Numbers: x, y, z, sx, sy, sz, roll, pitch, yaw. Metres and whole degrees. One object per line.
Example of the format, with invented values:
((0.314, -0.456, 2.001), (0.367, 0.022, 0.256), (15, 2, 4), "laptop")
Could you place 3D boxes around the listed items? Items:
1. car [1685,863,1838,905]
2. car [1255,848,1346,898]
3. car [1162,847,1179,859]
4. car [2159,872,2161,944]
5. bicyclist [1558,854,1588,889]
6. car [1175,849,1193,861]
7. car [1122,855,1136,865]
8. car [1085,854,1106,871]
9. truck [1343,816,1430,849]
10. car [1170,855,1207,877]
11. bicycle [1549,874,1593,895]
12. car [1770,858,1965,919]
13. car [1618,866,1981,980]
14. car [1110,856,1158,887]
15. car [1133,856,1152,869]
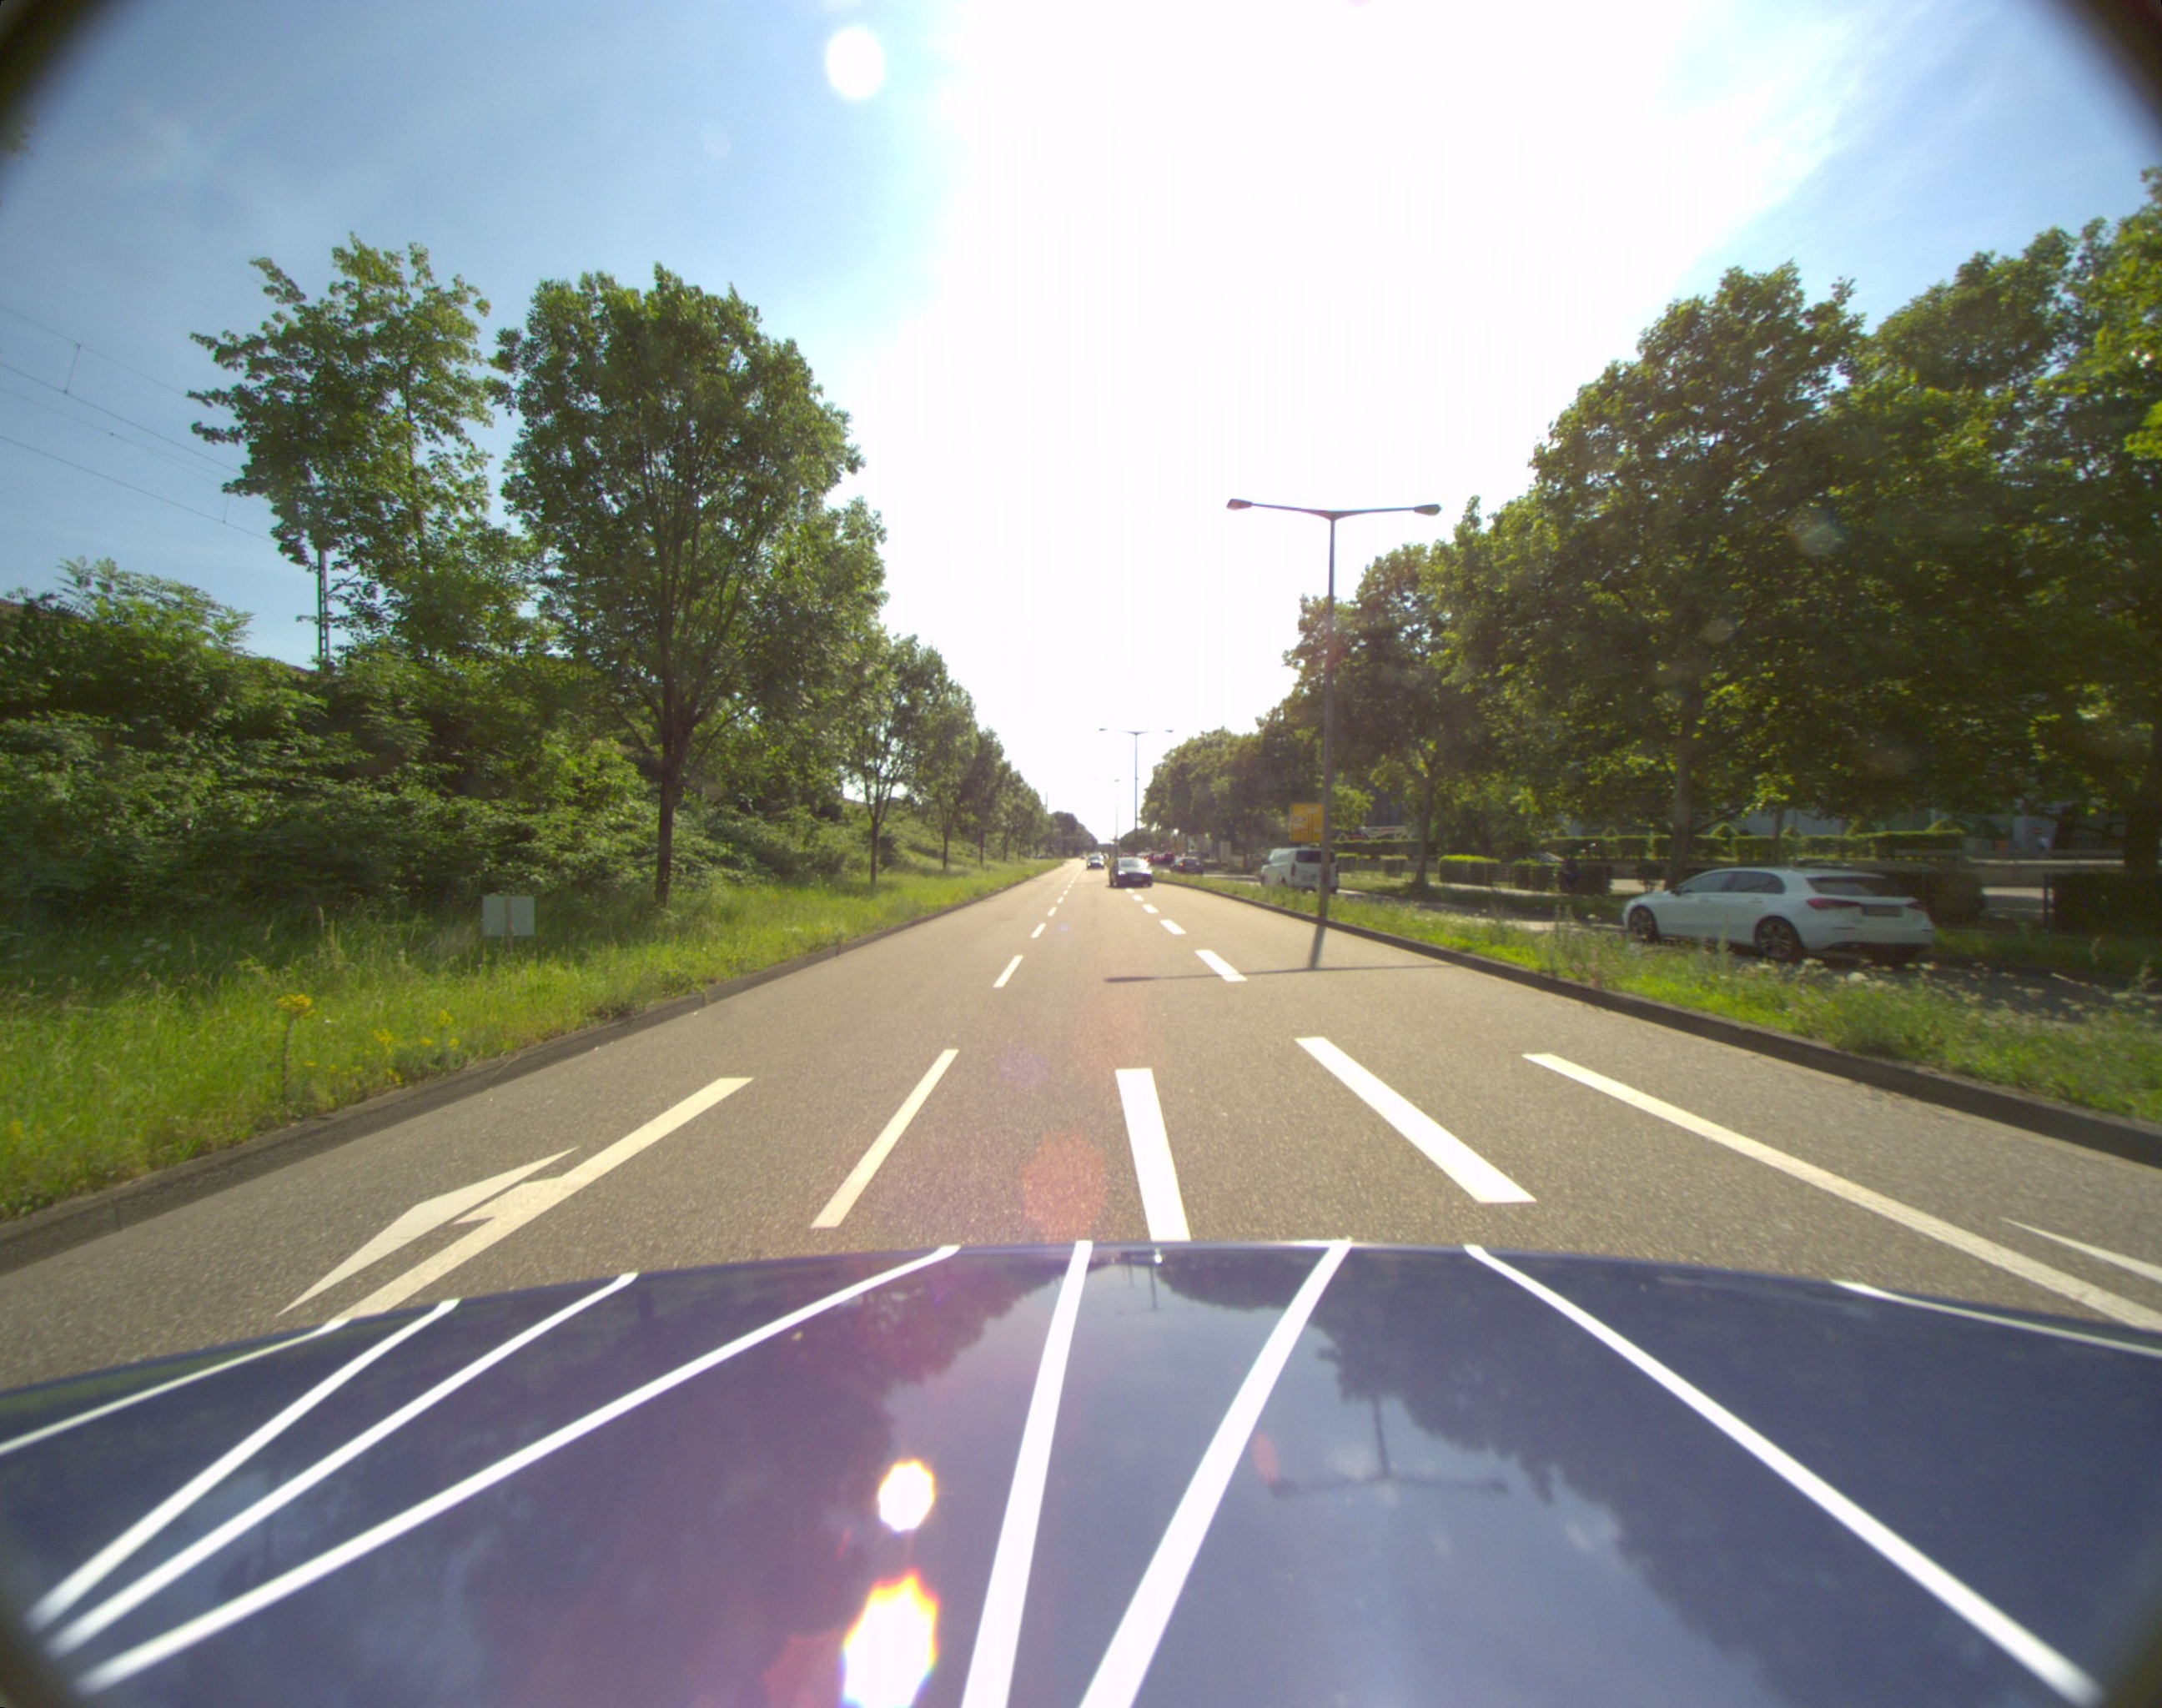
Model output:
((24.992, 1.093, 27.998), (3.996, 1.456, 1.772), (0, 0, 1), "car")
((8.900, 0.709, 31.380), (2.122, 1.872, 5.419), (0, 0, -1), "car")
((13.674, -0.106, 116.110), (1.998, 1.824, 4.651), (1, 0, 0), "car")
((25.832, 1.201, 15.861), (3.997, 1.592, 1.869), (0, 0, 0), "car")
((21.380, 0.755, 33.017), (0.683, 1.476, 0.942), (0, 1, 1), "bicyclist")
((13.217, 0.143, 97.579), (1.768, 1.454, 4.000), (1, 0, 1), "car")
((7.210, 0.872, 114.838), (1.777, 1.459, 4.671), (1, 0, 1), "car")
((1.465, 0.904, 78.538), (1.998, 1.699, 4.431), (0, 0, 0), "car")
((33.758, -2.297, 84.460), (2.678, 3.376, 8.965), (-1, 0, -36), "truck")
((7.460, 0.801, 52.963), (1.773, 1.460, 4.282), (0, 0, -2), "car")
((21.382, 1.318, 33.188), (0.691, 0.861, 1.926), (0, 0, 1), "bicycle")
((25.510, 1.090, 24.784), (3.995, 1.812, 2.157), (-1, 1, 4), "car")
((11.202, 0.967, 12.401), (1.791, 1.390, 4.358), (1, 1, 1), "car")
((2.664, 0.843, 38.784), (1.827, 1.498, 4.214), (0, 0, -5), "car")
((7.193, 1.003, 89.068), (1.844, 1.470, 4.166), (0, 0, 1), "car")
